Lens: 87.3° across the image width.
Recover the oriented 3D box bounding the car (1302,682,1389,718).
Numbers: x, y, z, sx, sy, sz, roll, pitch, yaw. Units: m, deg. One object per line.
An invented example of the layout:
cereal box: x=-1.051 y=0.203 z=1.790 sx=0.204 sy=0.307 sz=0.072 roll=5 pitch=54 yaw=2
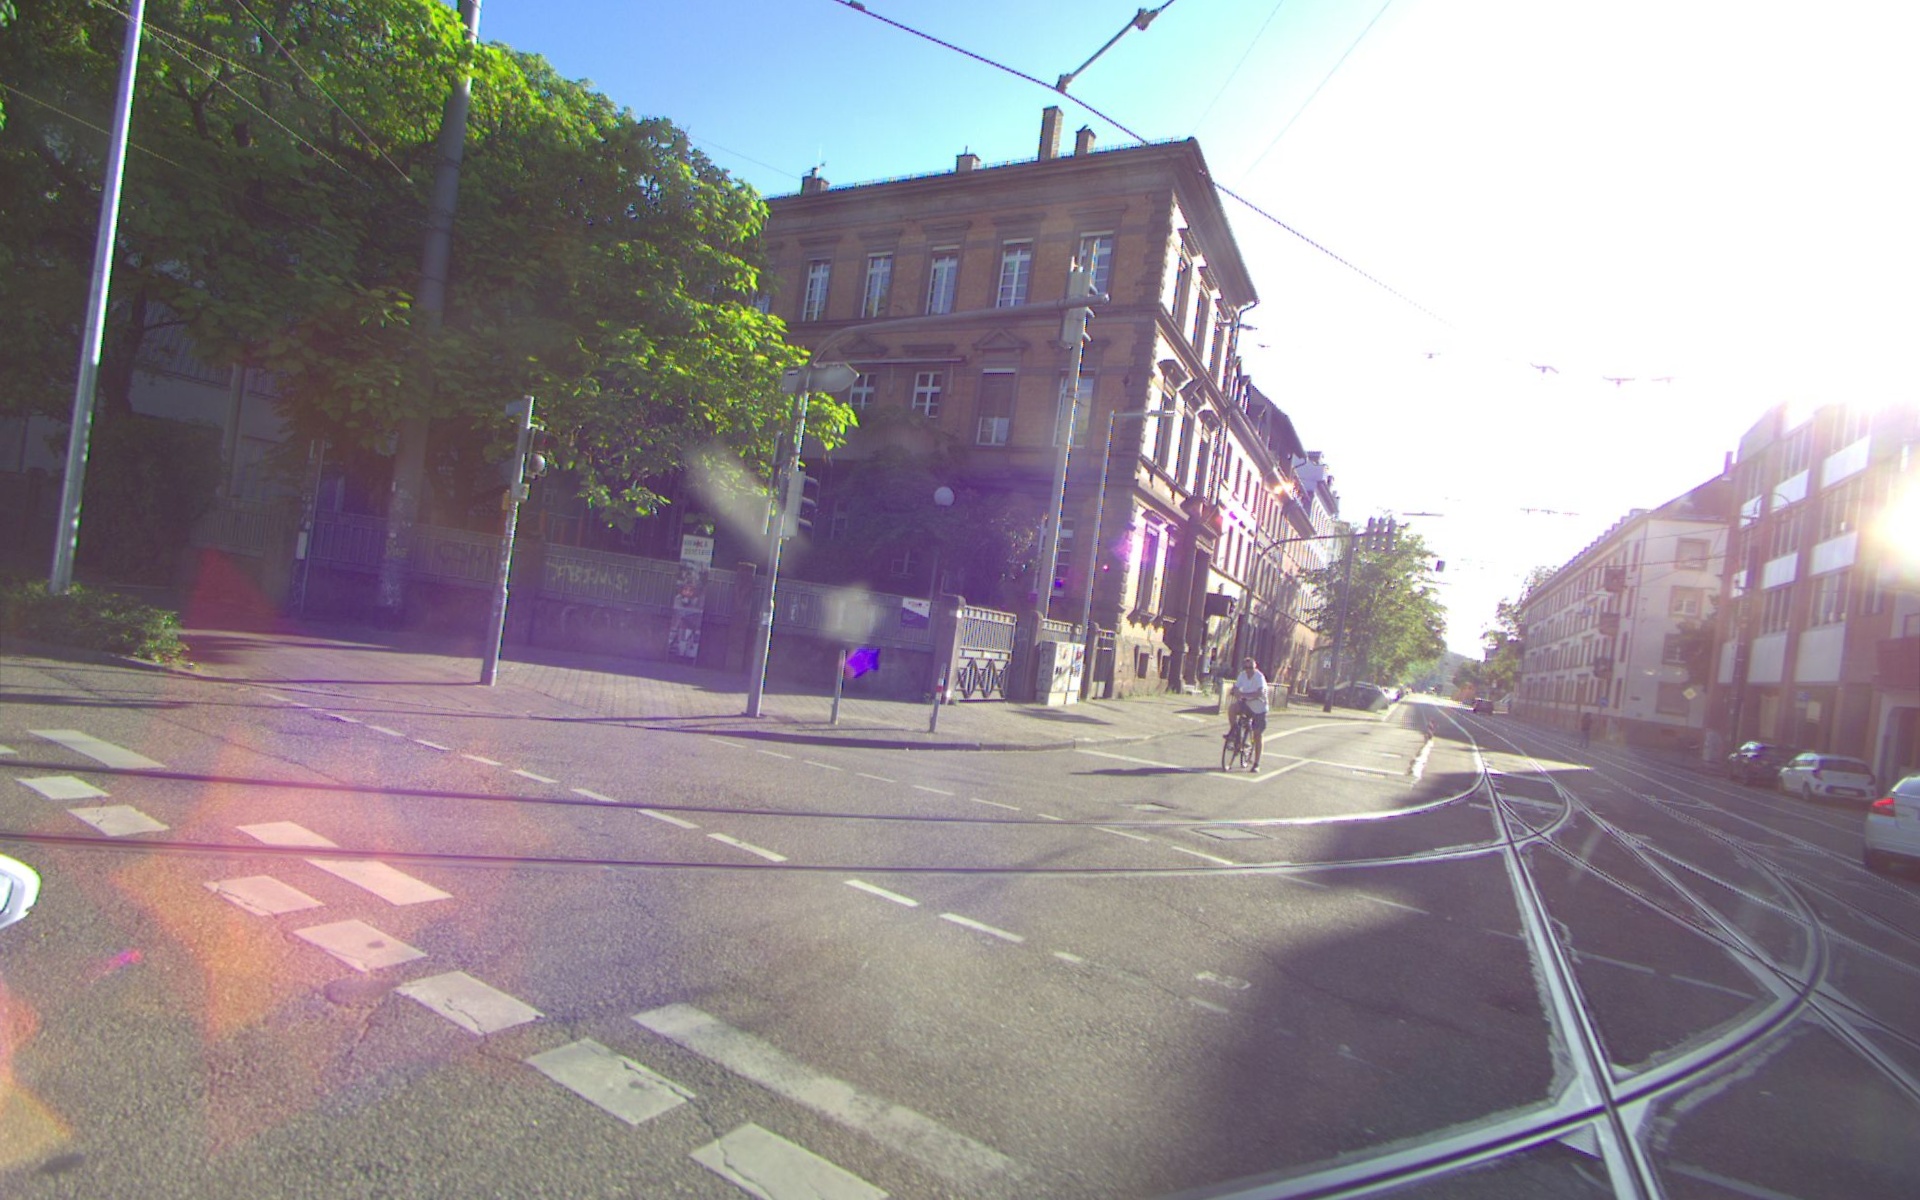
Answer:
car: x=24.274 y=6.308 z=63.425 sx=4.649 sy=1.468 sz=1.908 roll=8 pitch=0 yaw=4

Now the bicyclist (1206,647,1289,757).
bicyclist: x=4.510 y=1.571 z=15.739 sx=0.993 sy=1.527 sz=0.928 roll=8 pitch=0 yaw=21

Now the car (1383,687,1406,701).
car: x=52.357 y=11.363 z=121.206 sx=1.966 sy=1.370 sz=3.994 roll=8 pitch=-1 yaw=30

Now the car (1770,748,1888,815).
car: x=26.705 y=5.526 z=31.054 sx=1.880 sy=1.487 sz=3.997 roll=7 pitch=-2 yaw=30

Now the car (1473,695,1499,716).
car: x=56.076 y=11.242 z=107.260 sx=1.964 sy=1.869 sz=4.004 roll=8 pitch=-3 yaw=23

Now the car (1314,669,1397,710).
car: x=26.563 y=5.985 z=67.673 sx=4.649 sy=2.010 sz=2.001 roll=8 pitch=0 yaw=4

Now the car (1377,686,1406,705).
car: x=38.724 y=8.583 z=90.215 sx=1.776 sy=1.370 sz=3.994 roll=8 pitch=-1 yaw=30

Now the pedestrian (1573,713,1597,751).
pedestrian: x=31.345 y=6.605 z=50.469 sx=0.684 sy=1.791 sz=0.989 roll=8 pitch=0 yaw=23

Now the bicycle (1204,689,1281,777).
bicycle: x=4.482 y=2.036 z=15.817 sx=0.830 sy=1.132 sz=2.332 roll=7 pitch=-1 yaw=21

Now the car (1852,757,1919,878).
car: x=14.696 y=3.229 z=14.477 sx=4.862 sy=1.473 sz=1.836 roll=9 pitch=-1 yaw=-38

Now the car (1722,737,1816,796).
car: x=28.836 y=5.891 z=36.001 sx=1.859 sy=1.636 sz=3.997 roll=7 pitch=-2 yaw=30

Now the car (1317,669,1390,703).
car: x=28.862 y=6.309 z=73.943 sx=4.648 sy=1.704 sz=2.001 roll=8 pitch=0 yaw=15
